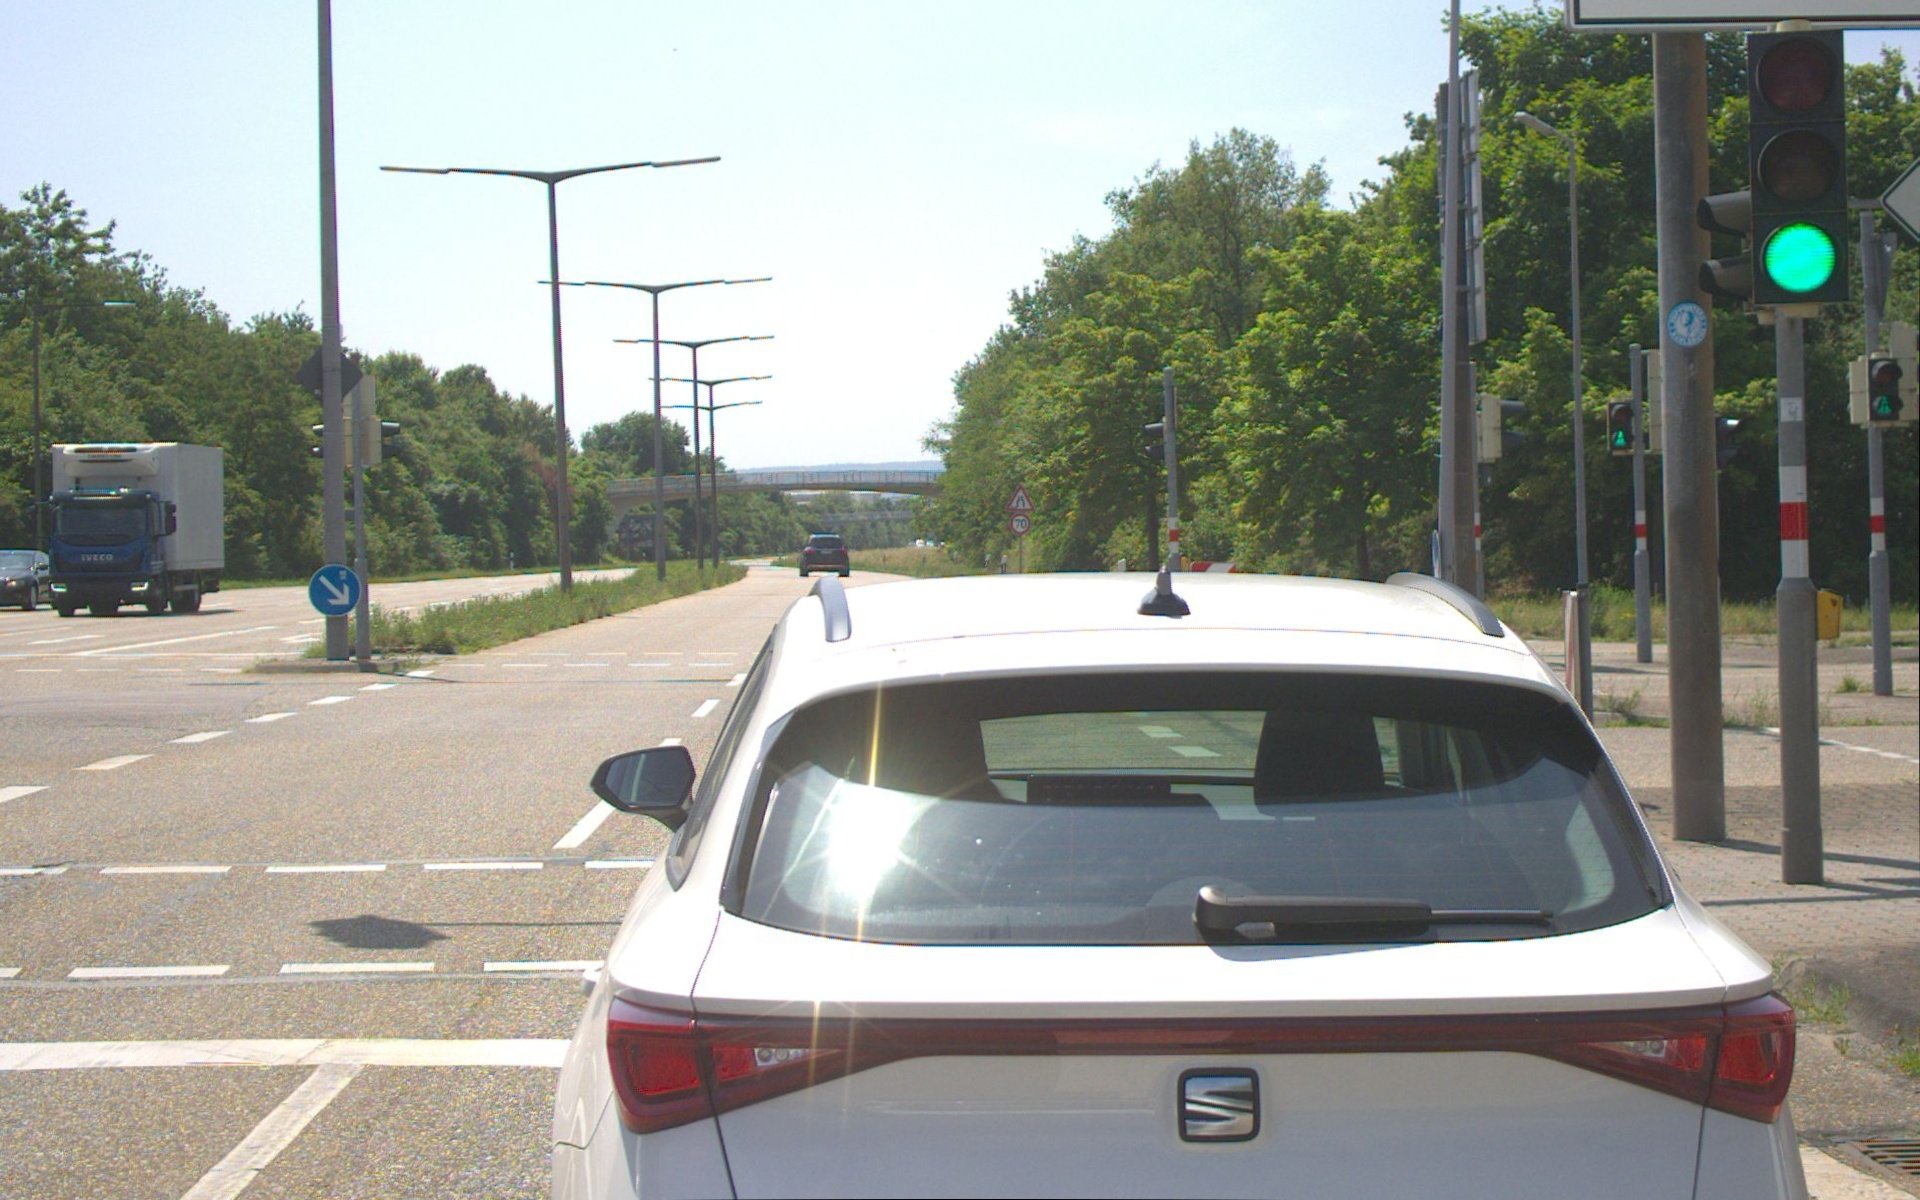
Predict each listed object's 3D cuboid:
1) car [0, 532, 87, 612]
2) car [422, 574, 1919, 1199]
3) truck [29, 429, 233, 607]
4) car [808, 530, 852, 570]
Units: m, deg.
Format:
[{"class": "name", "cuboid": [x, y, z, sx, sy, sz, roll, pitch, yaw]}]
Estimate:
[{"class": "car", "cuboid": [-21.219, -0.650, 77.557, 1.822, 1.726, 4.926, -1, 1, -1]}, {"class": "car", "cuboid": [0.242, 0.682, 5.694, 1.734, 1.423, 3.695, 1, 0, -1]}, {"class": "truck", "cuboid": [-17.475, -1.733, 72.916, 2.687, 3.558, 7.268, 0, 1, -1]}, {"class": "car", "cuboid": [-5.674, -2.203, 150.121, 1.855, 1.703, 4.001, -1, 1, -2]}]
